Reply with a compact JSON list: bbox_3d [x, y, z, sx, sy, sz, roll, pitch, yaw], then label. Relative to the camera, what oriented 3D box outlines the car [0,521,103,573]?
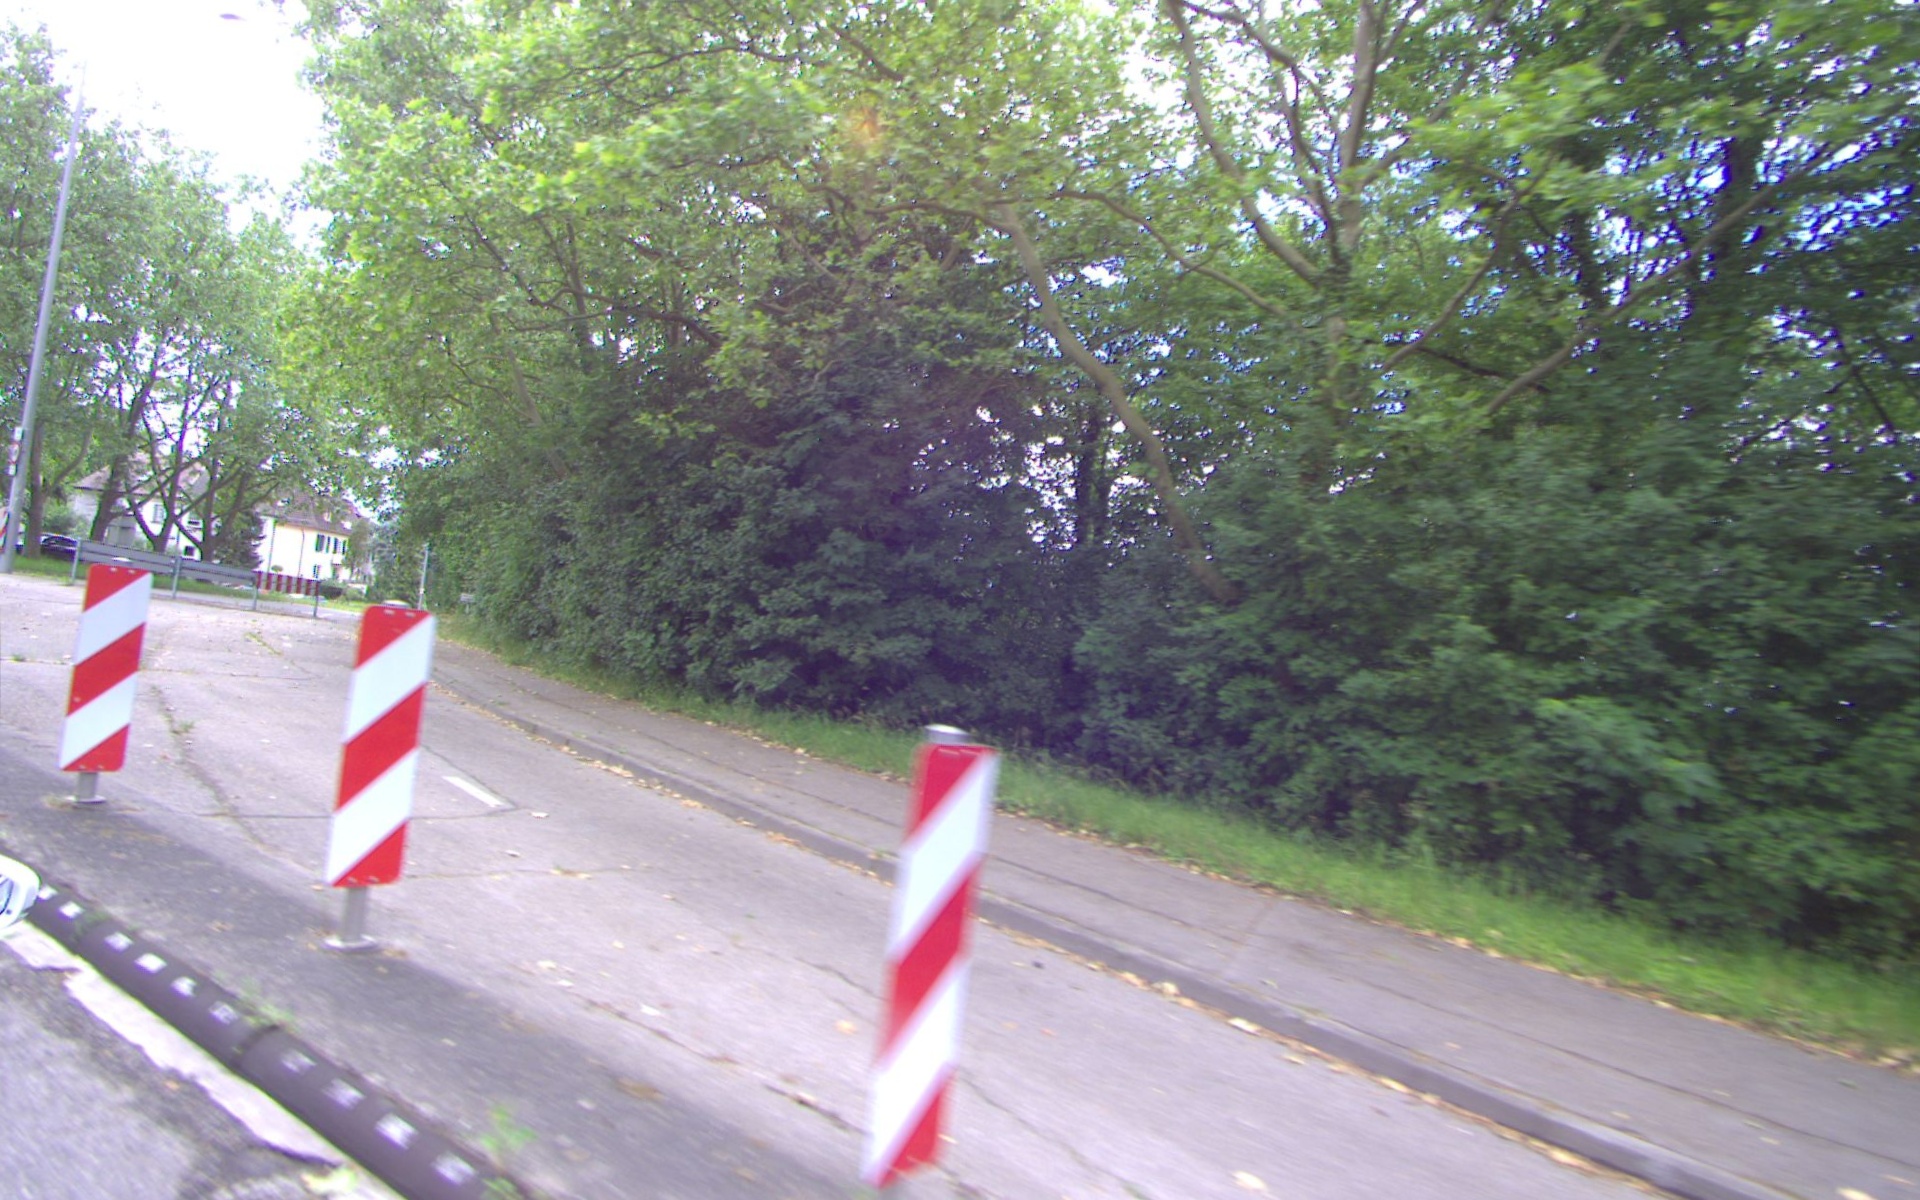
[{"bbox_3d":[-41.421,-2.422,45.087,1.964,1.788,4.747,8,-3,-3],"label":"car"}]
